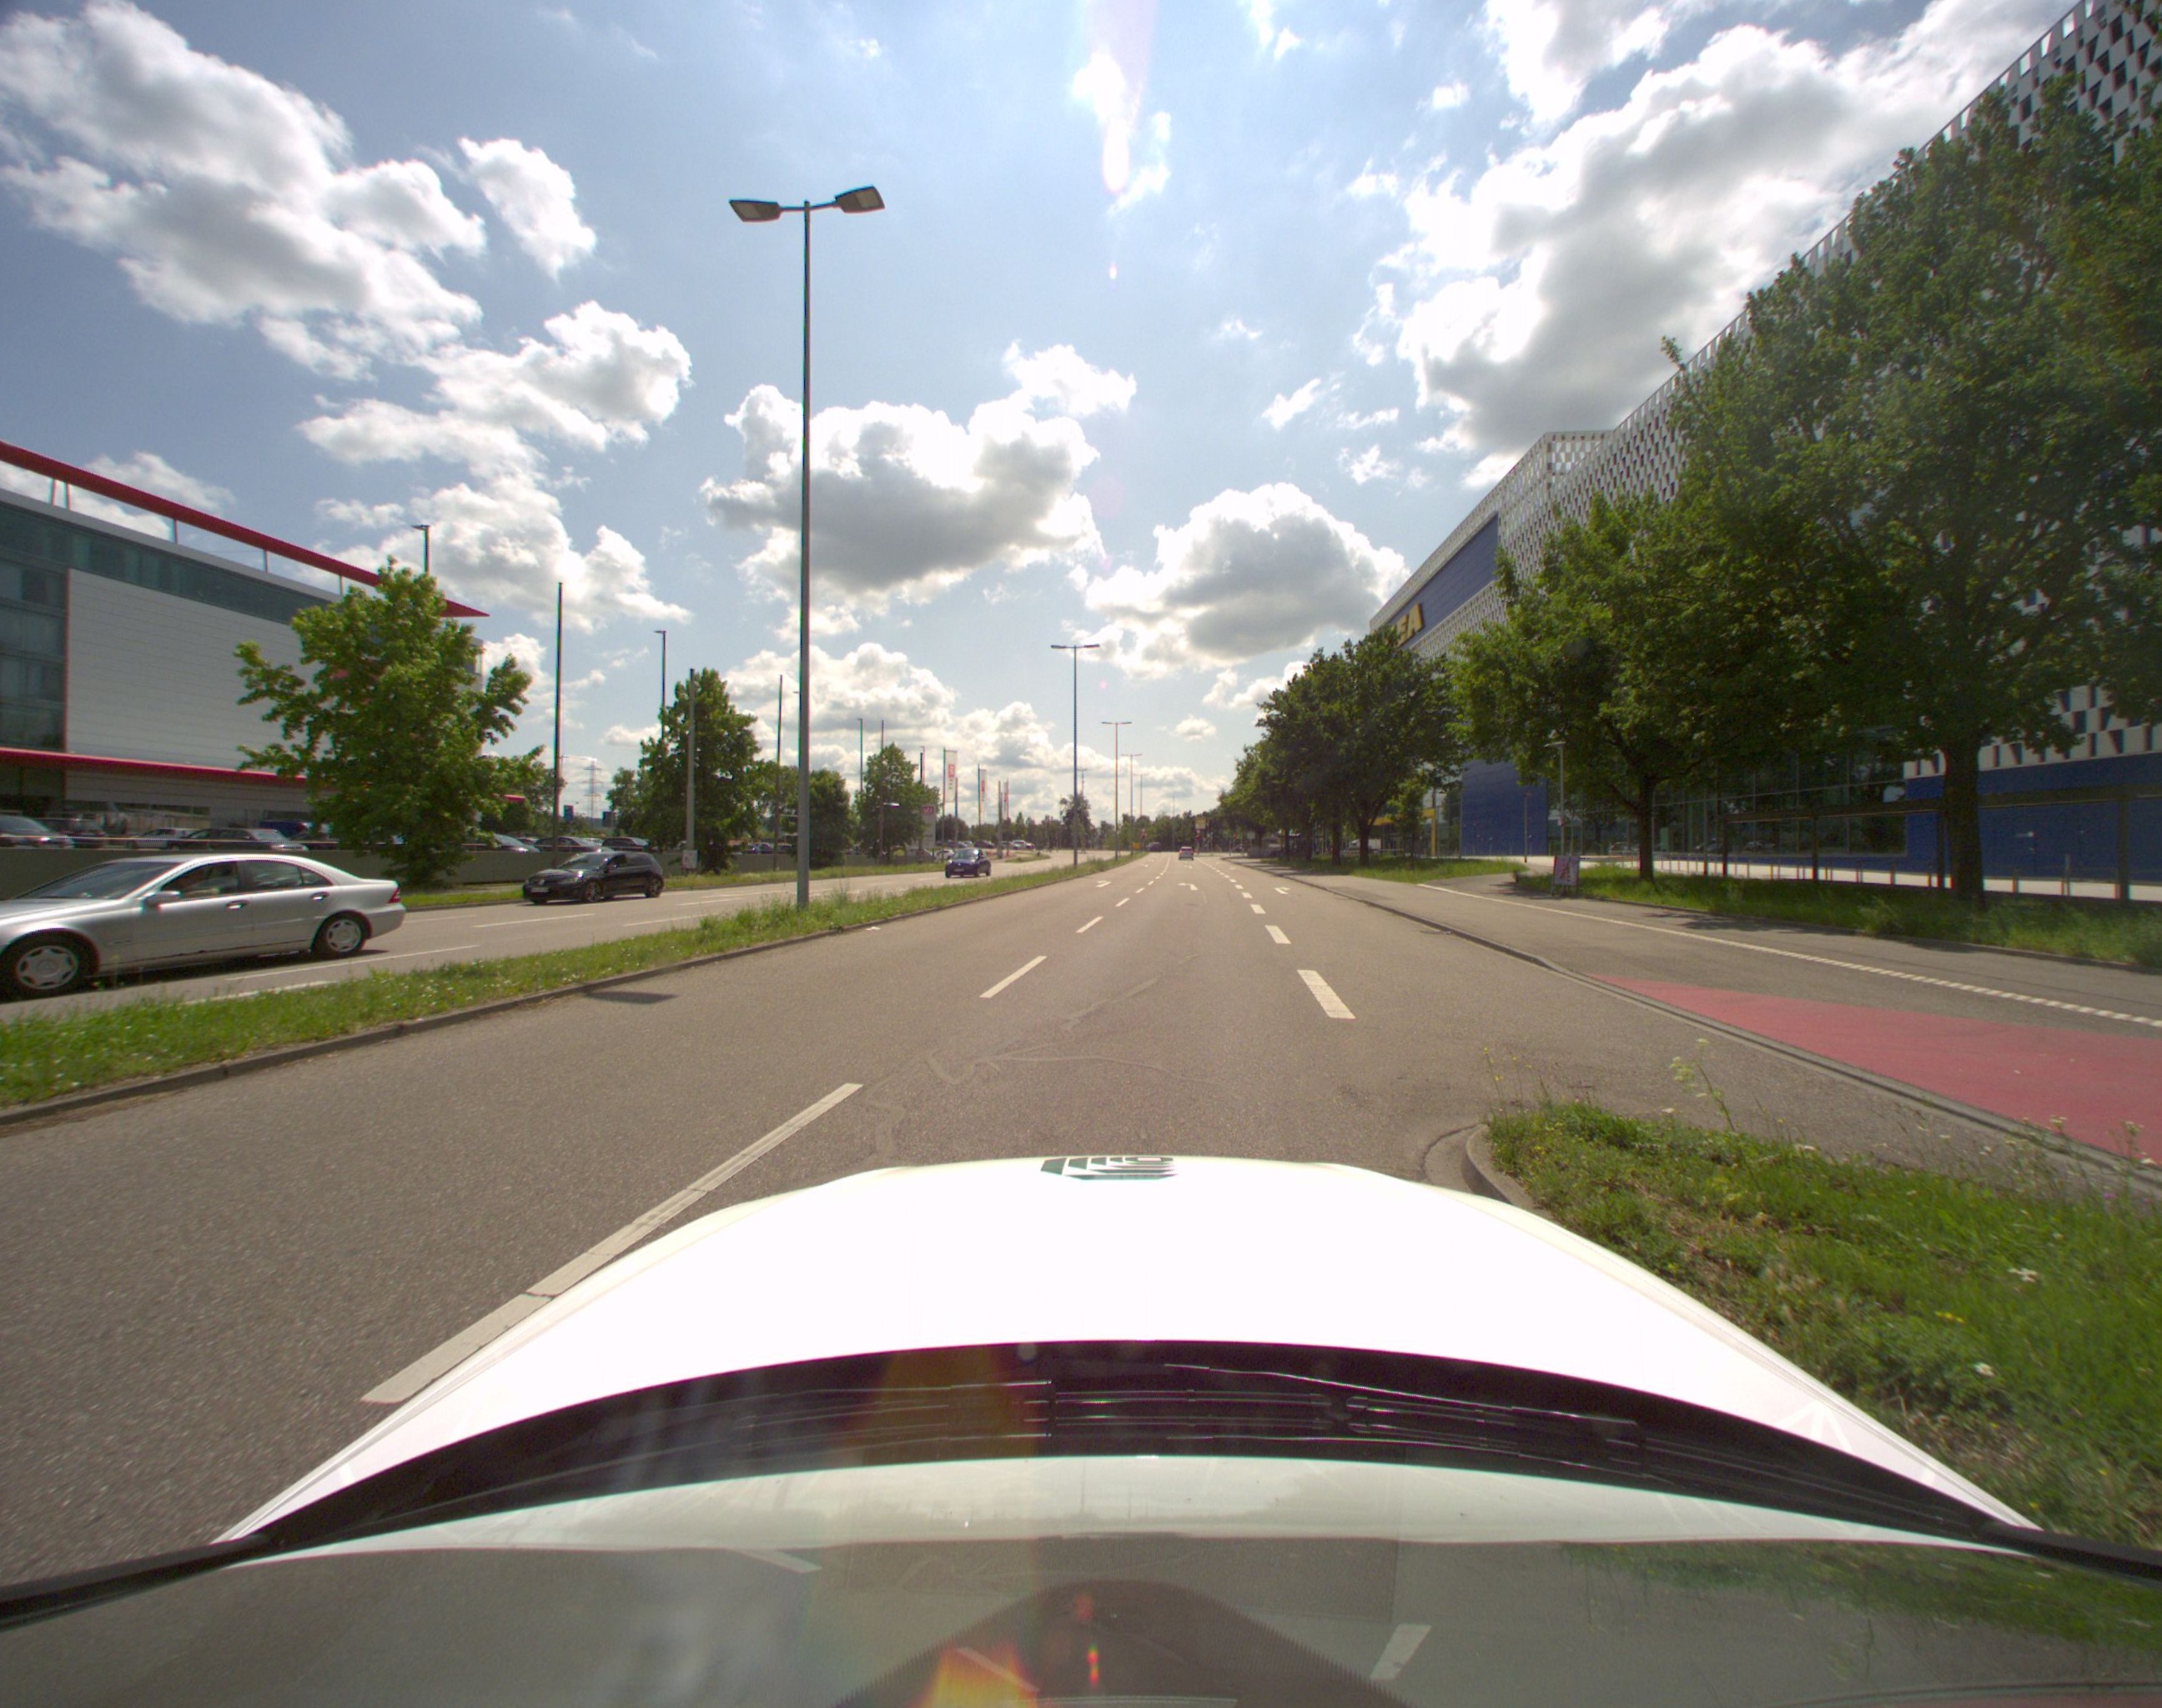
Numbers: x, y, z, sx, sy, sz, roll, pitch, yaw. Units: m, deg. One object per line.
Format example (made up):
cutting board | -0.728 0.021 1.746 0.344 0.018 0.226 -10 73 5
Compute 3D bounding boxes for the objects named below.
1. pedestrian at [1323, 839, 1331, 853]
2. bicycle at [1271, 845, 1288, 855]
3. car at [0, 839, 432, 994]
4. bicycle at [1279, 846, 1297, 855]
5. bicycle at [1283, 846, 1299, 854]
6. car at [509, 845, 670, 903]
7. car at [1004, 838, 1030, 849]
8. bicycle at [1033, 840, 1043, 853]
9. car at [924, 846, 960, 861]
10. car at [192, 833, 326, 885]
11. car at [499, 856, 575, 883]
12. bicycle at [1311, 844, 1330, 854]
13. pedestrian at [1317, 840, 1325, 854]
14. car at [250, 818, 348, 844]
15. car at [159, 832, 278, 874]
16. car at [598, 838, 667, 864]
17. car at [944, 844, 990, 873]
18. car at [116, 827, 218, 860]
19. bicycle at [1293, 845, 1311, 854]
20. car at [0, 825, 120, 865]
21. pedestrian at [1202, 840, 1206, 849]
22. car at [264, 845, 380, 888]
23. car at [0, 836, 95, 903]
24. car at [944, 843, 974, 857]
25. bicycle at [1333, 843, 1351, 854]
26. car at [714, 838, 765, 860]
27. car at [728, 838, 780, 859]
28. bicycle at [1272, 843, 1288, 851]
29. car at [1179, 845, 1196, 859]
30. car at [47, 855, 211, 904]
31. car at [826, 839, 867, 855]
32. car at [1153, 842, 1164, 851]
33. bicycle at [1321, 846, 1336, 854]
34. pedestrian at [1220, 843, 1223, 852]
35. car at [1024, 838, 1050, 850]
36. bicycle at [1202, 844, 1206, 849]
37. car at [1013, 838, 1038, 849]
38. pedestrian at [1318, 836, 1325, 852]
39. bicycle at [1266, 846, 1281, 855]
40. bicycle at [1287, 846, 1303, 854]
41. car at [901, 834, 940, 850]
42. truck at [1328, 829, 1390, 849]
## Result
pedestrian | 35.157 -1.136 116.369 0.999 2.072 0.979 0 -2 20
bicycle | 23.013 -0.481 94.427 1.885 1.170 0.425 -1 0 7
car | -10.662 0.554 9.575 1.781 1.418 4.688 0 1 10
bicycle | 22.975 -0.376 90.478 1.855 0.994 0.424 -2 0 1
bicycle | 25.883 -0.499 100.251 1.851 1.034 0.425 0 1 7
car | -13.857 0.490 23.278 1.609 1.469 4.128 0 1 10
car | -11.516 -1.896 147.179 4.327 1.989 2.003 0 0 5
bicycle | -5.890 -1.029 110.831 1.012 1.675 2.052 0 1 7
car | -18.733 -0.099 109.988 4.327 1.989 2.003 0 0 5
car | -37.839 0.226 37.549 4.327 2.329 2.003 0 0 5
car | -40.464 1.143 60.615 4.327 1.989 2.003 0 0 5
bicycle | 26.247 -0.550 89.198 1.989 1.108 0.580 -1 0 44
pedestrian | 34.102 -1.005 115.808 0.999 1.902 0.979 0 -2 20
car | -56.201 -1.630 58.618 5.093 1.778 2.202 0 1 4
car | -42.777 -0.044 40.452 3.967 2.013 2.003 0 1 5
car | -35.161 -0.260 63.900 4.327 1.989 2.003 0 0 5
car | -5.911 0.206 42.588 1.732 1.475 3.679 0 1 3
car | -57.365 -0.654 51.146 4.327 1.989 2.003 0 1 5
bicycle | 25.610 -0.470 94.347 1.855 0.994 0.424 -1 -1 1
car | -52.113 -0.440 41.425 4.327 1.989 2.003 0 0 5
pedestrian | 24.065 -1.850 159.331 0.607 1.768 0.674 0 1 8
car | -37.236 0.582 40.032 3.967 2.013 2.003 0 1 5
car | -39.002 0.528 29.527 4.327 2.329 2.003 0 0 5
car | -17.053 -0.573 114.170 3.980 2.013 1.997 0 0 -5
bicycle | 31.813 -0.681 99.226 2.124 1.229 0.724 -1 1 16
car | -33.107 -0.469 79.048 4.052 1.989 1.845 1 0 5
car | -32.644 -0.536 81.441 4.327 1.989 2.003 1 1 5
bicycle | 23.947 -0.851 98.057 1.855 0.994 0.424 -1 0 1
car | 12.550 -0.270 95.906 1.884 1.469 3.841 2 1 7
car | -33.099 0.862 28.368 3.963 1.596 1.854 0 1 9
car | -29.870 -0.861 103.810 4.560 1.989 2.003 1 0 5
car | 13.938 -1.431 146.569 1.887 1.469 3.836 2 2 2
bicycle | 32.985 -0.554 108.698 1.851 0.994 0.425 0 1 7
pedestrian | 25.980 -1.190 150.355 0.519 1.721 0.732 0 1 10
car | -7.652 -1.750 142.675 4.327 1.989 2.003 0 0 5
bicycle | 24.065 -1.490 159.369 0.615 1.087 1.726 1 1 8
car | -10.140 -1.959 149.969 4.327 1.989 2.003 0 0 5
pedestrian | 26.465 -1.072 89.614 0.627 1.721 0.528 -1 -1 42
bicycle | 24.005 -0.441 101.538 1.855 1.187 0.424 0 1 1
bicycle | 25.654 -0.463 97.693 1.855 0.995 0.424 0 -1 1
car | -20.274 -1.485 102.904 4.327 1.989 2.003 0 0 5
truck | 57.864 -3.132 169.563 11.896 4.104 2.958 1 1 6
